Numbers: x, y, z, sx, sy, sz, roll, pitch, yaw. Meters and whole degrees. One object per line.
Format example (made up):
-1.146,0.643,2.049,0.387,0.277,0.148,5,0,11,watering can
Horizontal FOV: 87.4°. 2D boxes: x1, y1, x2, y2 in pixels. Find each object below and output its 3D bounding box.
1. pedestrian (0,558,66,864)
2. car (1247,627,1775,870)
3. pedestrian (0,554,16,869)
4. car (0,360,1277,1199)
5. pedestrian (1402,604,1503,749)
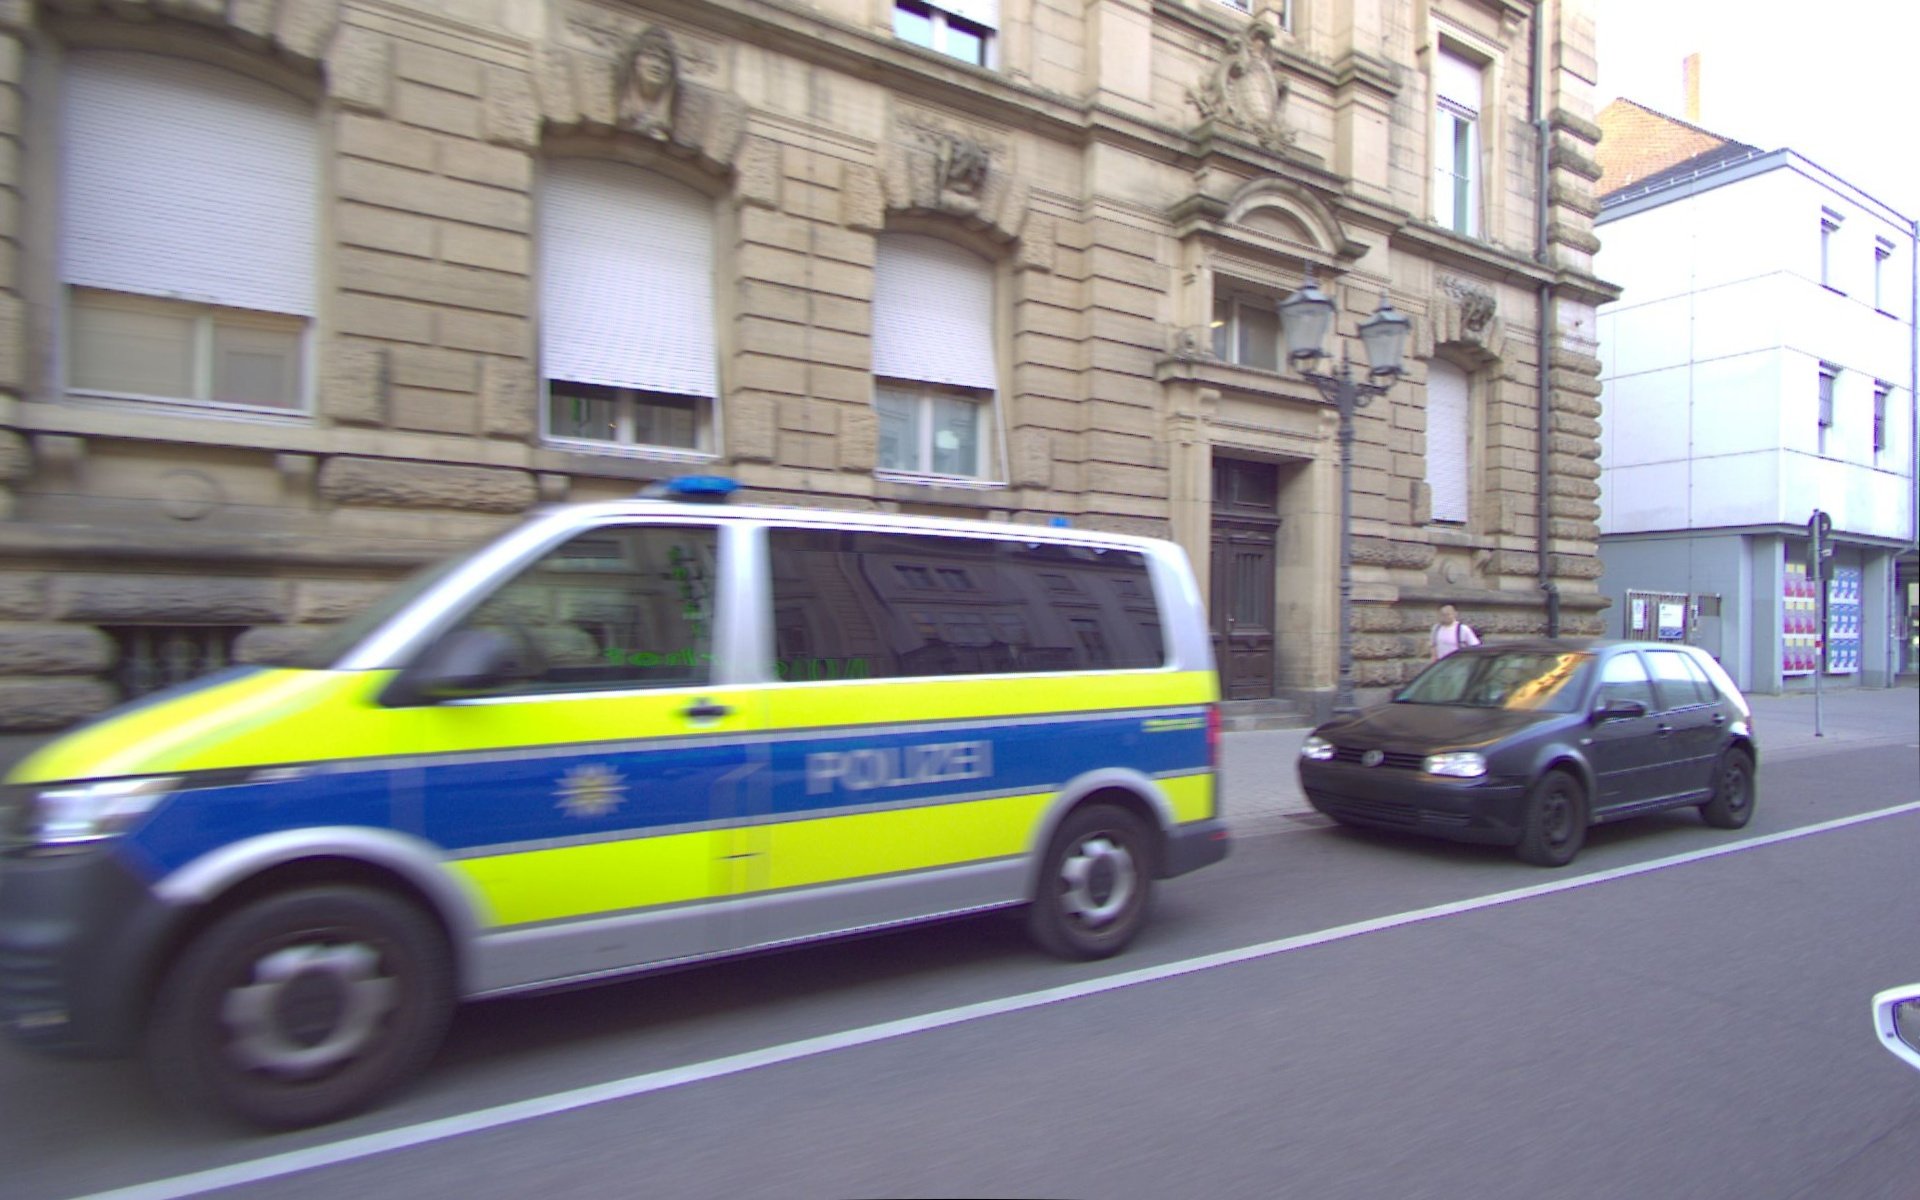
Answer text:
-5.880,0.633,5.883,0.821,1.753,0.580,1,-1,-29,pedestrian
4.560,1.010,8.224,4.116,1.514,1.984,2,-2,-30,car
-5.580,0.617,5.315,0.700,1.753,0.557,1,-1,-29,pedestrian
-1.059,0.545,4.460,4.934,2.105,1.983,2,-2,-32,car
6.265,0.948,12.794,0.885,1.753,0.710,1,2,-29,pedestrian
